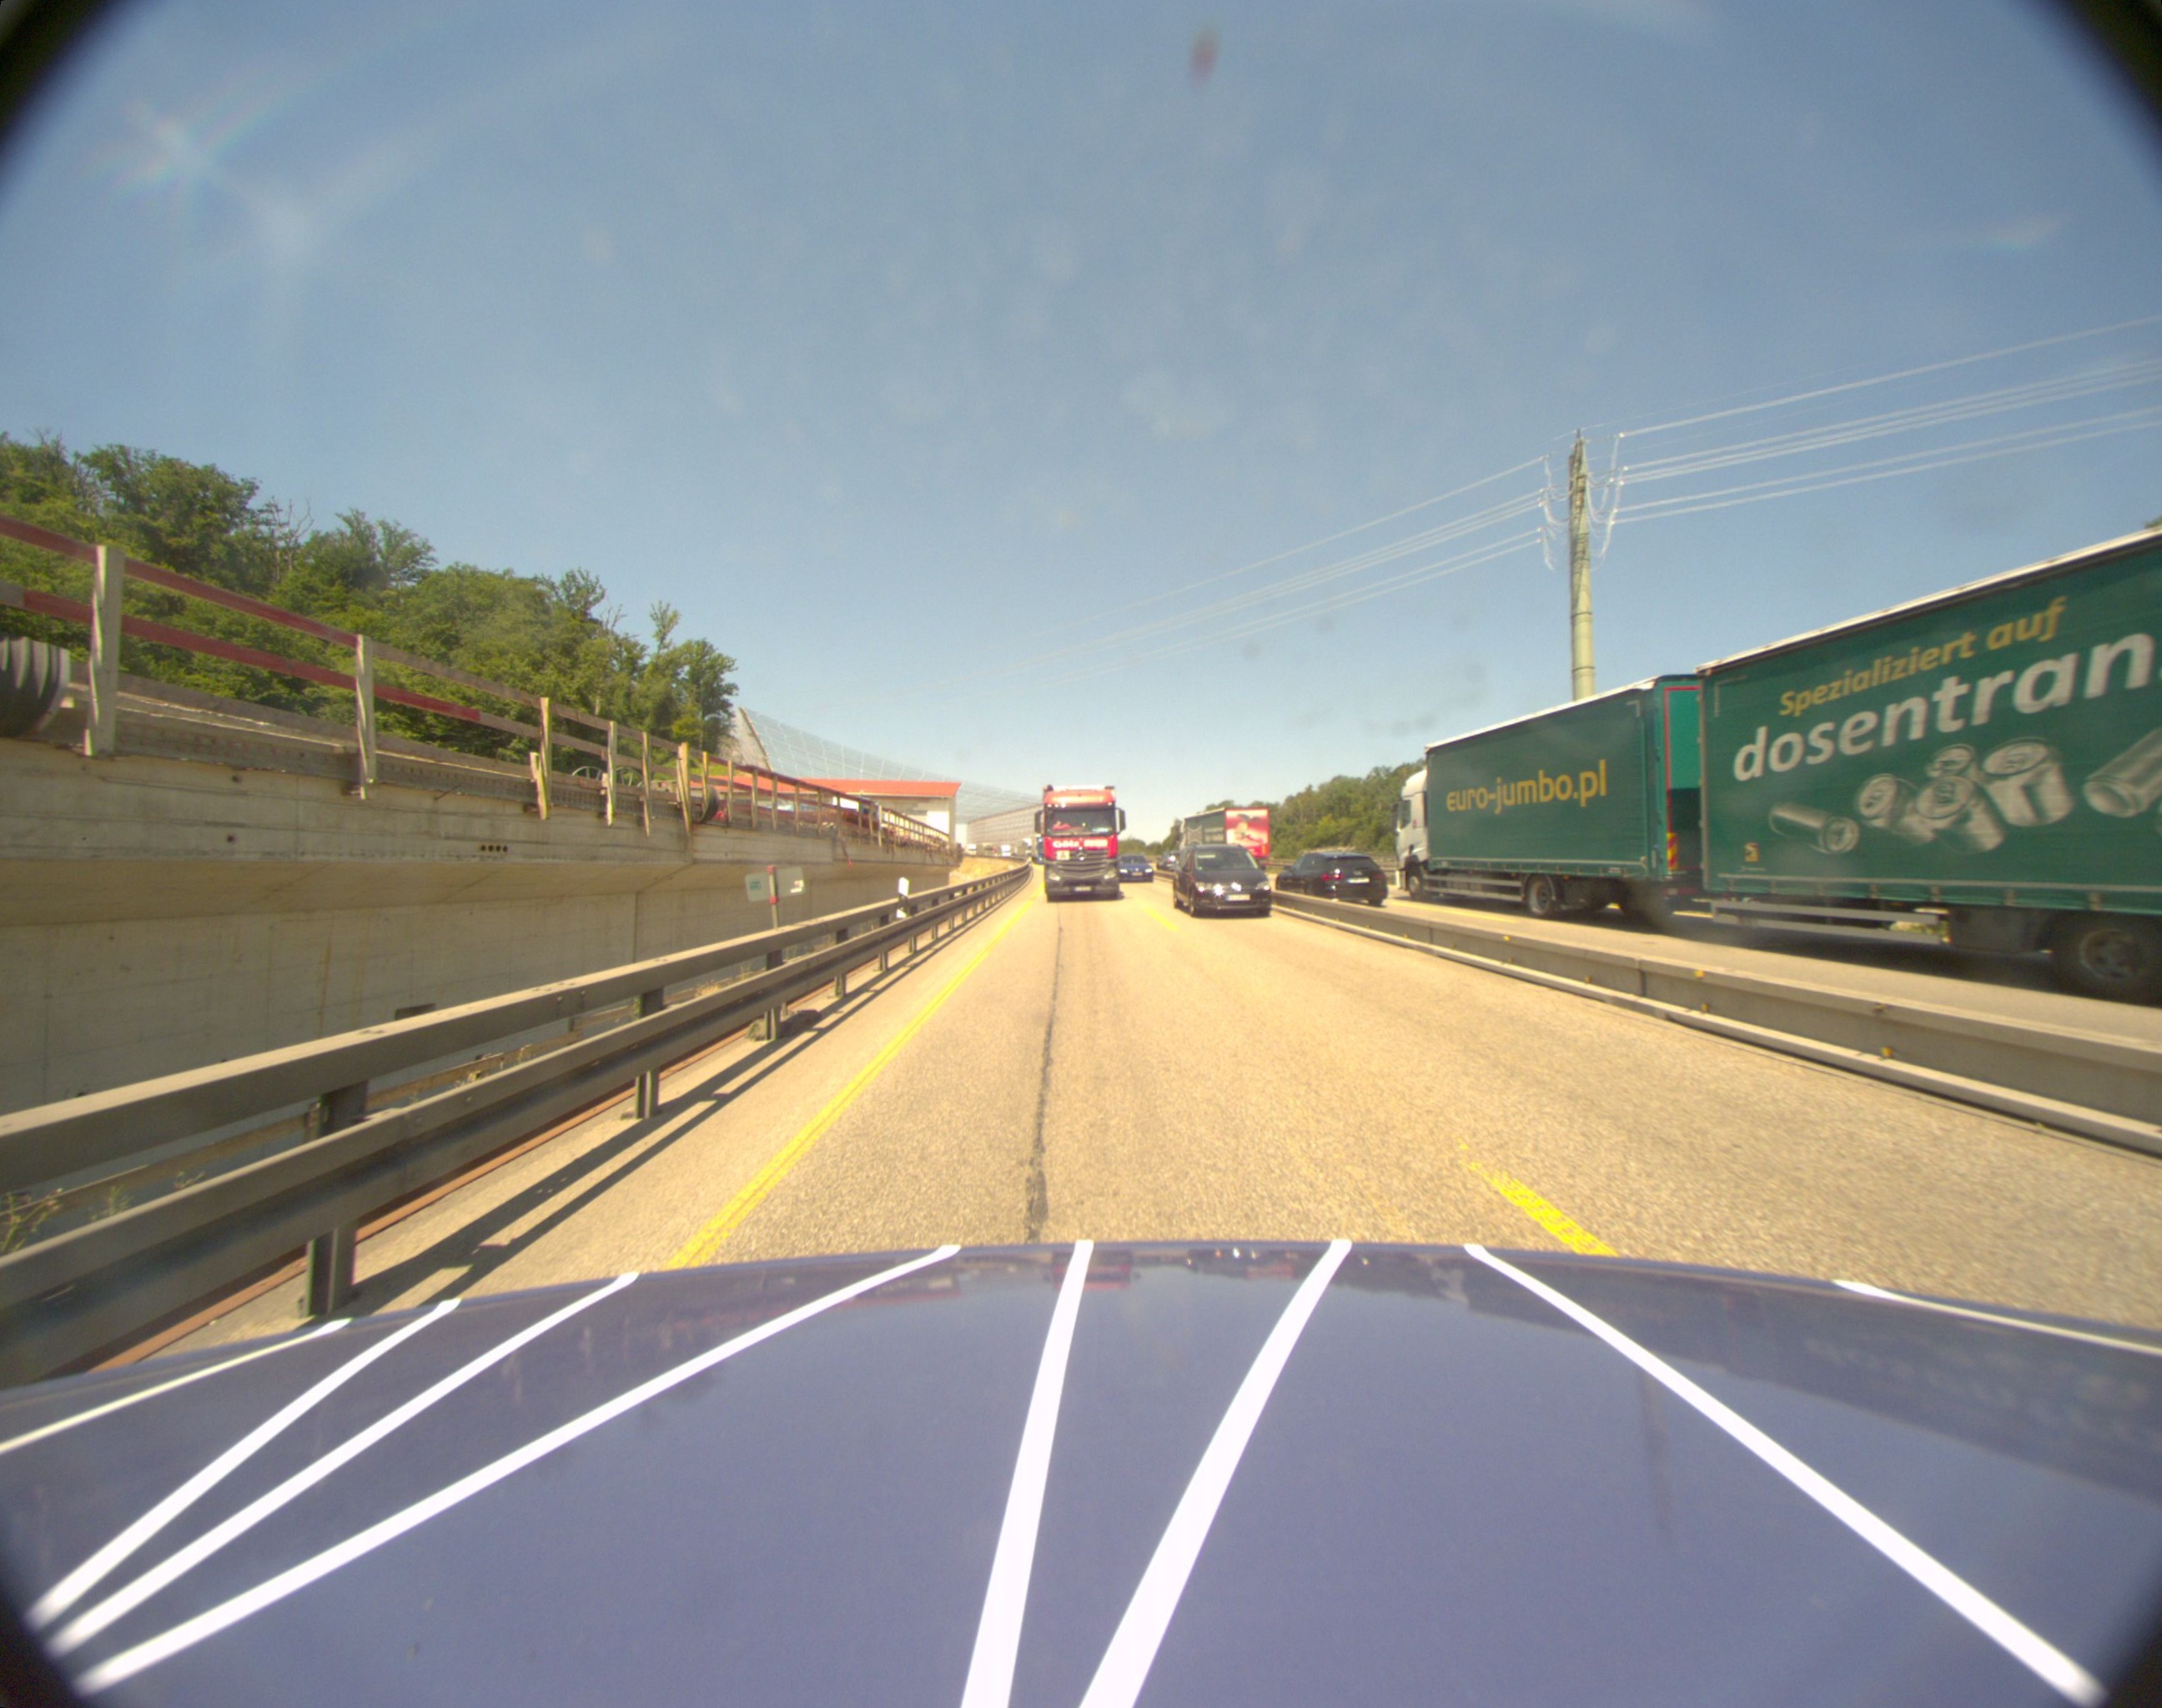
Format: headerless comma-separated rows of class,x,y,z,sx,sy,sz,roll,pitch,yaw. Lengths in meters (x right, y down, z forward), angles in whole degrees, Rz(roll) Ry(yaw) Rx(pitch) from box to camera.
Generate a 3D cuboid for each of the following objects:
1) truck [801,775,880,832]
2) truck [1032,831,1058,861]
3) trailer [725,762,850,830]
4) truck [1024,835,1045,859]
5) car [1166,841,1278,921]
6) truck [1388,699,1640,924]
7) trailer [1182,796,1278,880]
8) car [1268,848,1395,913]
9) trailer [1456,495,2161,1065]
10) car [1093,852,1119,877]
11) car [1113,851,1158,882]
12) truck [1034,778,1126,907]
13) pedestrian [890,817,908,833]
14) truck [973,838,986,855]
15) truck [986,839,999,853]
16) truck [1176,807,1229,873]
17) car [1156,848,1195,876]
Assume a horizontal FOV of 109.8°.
truck,-17.997,-3.696,57.291,2.713,3.672,5.721,-1,-2,20
truck,-5.213,-1.202,108.584,2.673,3.986,10.420,-2,1,-8
trailer,-19.848,-3.789,52.250,2.713,3.672,9.012,-1,-2,20
truck,-8.663,-1.362,141.588,2.912,4.208,9.231,-2,1,-9
car,3.382,0.591,19.264,1.861,1.696,5.303,-1,0,1
truck,10.104,-0.937,18.559,2.853,4.554,5.786,-2,2,1
trailer,9.554,-0.959,50.968,3.073,4.787,13.998,-2,0,-2
car,6.713,0.638,20.935,1.906,1.454,4.756,-2,1,0
trailer,10.141,-0.713,10.183,2.841,4.615,14.576,-2,1,-1
car,2.002,0.832,61.091,1.946,1.858,5.223,-1,0,1
car,2.829,0.632,40.467,1.896,1.546,4.785,-2,0,-2
truck,-0.027,-0.471,29.143,2.798,3.986,10.426,-2,1,0
pedestrian,-13.567,-2.161,56.791,1.022,1.144,0.994,-2,2,3
truck,-30.215,-2.282,225.854,3.044,4.778,8.932,-2,1,-10
truck,-26.957,-2.470,231.399,3.044,4.033,8.665,-2,1,-10
truck,9.258,-1.025,58.213,3.069,4.793,4.644,-2,1,-2
car,5.932,0.474,48.081,1.962,1.671,4.113,-1,1,1
